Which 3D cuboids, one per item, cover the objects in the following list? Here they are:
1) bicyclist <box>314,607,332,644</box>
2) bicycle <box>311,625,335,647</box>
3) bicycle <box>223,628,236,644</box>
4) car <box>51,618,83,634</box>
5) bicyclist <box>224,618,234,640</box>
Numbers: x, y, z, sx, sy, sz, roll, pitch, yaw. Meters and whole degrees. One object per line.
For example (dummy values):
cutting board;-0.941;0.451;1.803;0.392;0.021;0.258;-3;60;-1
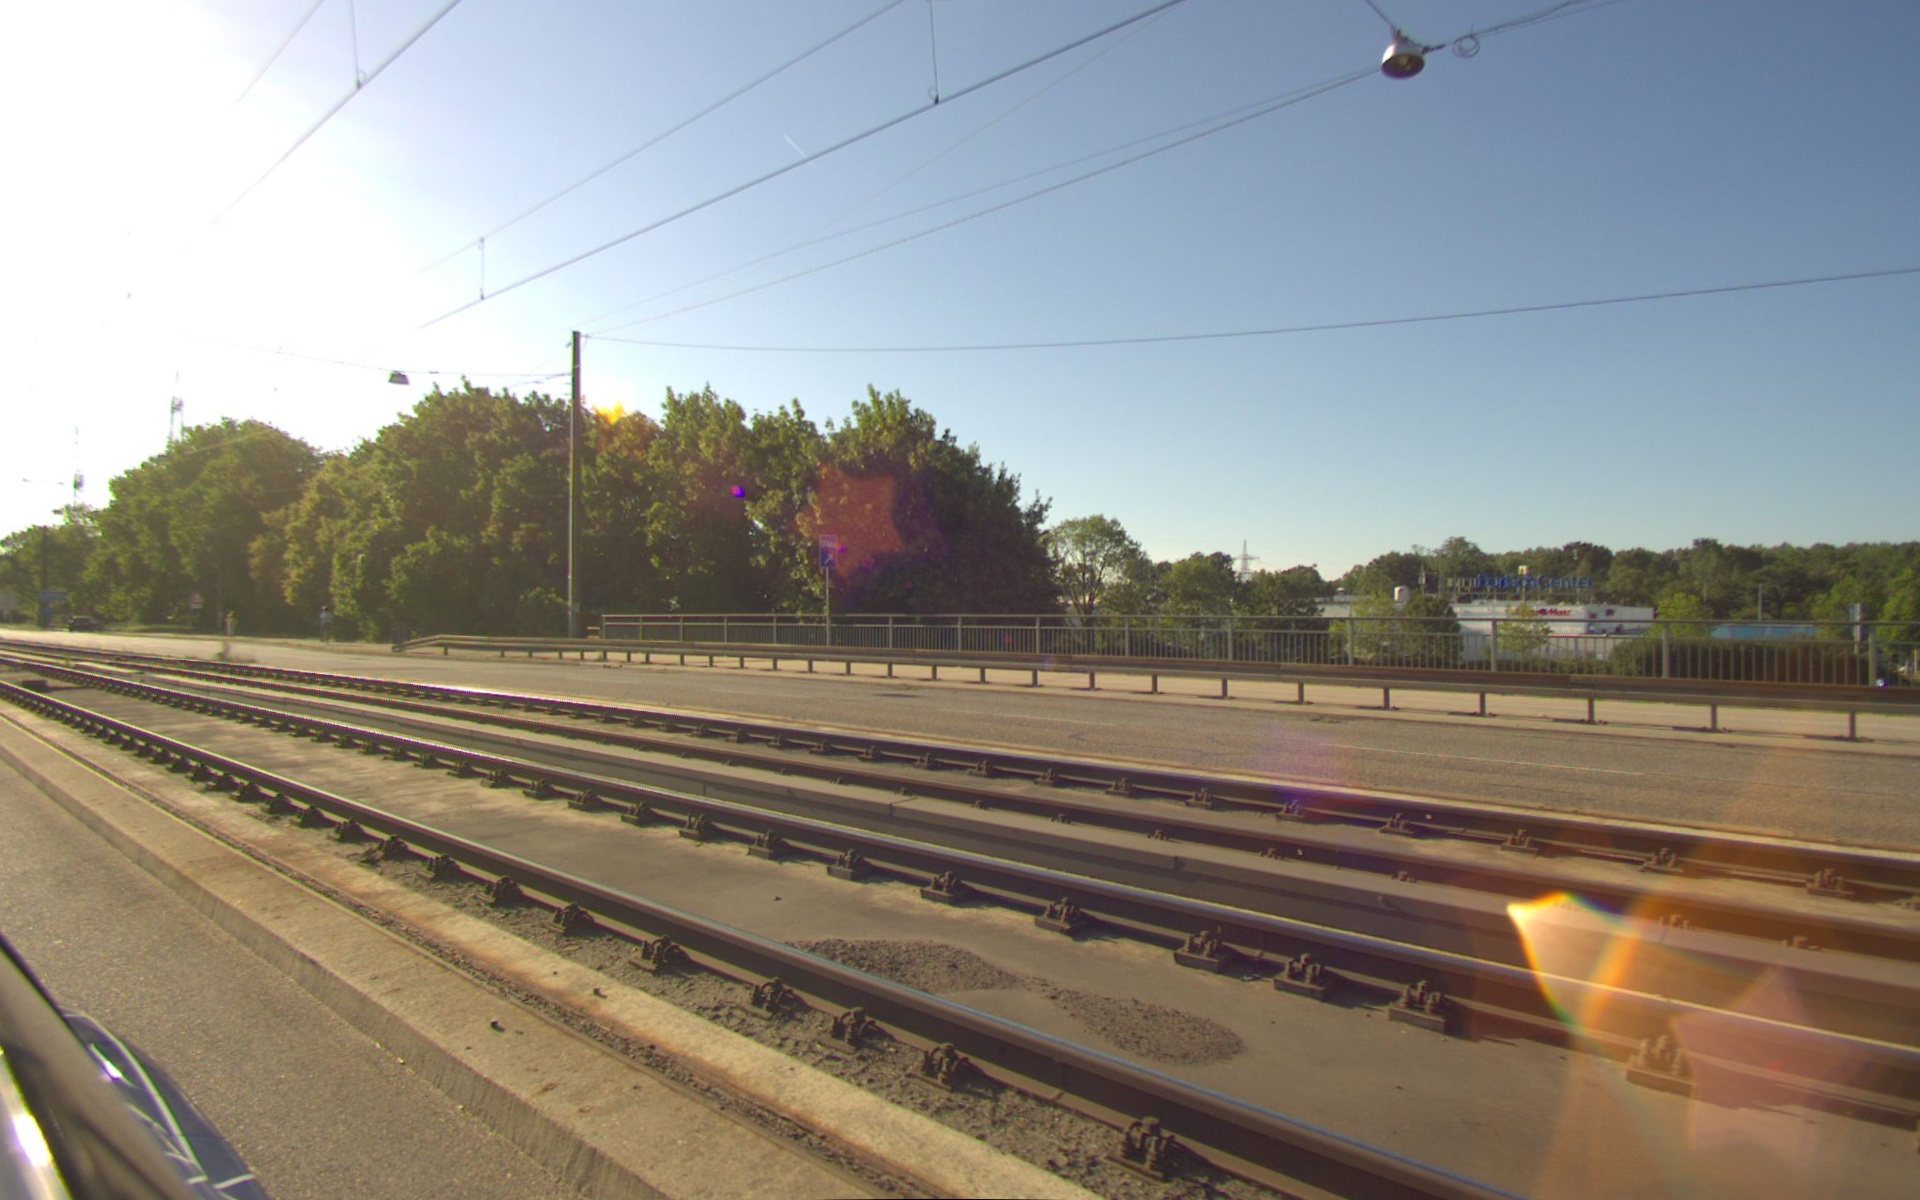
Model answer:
bicyclist;-31.385;1.240;49.865;0.832;1.764;0.492;0;1;40
bicycle;-31.404;1.763;49.886;1.727;1.060;0.498;0;1;41
bicycle;-46.920;2.290;64.982;0.420;0.971;1.915;-1;1;-43
car;-89.286;2.578;101.127;3.955;1.533;1.952;0;1;42
bicyclist;-46.838;1.856;64.882;0.417;1.439;0.755;-1;1;-43
